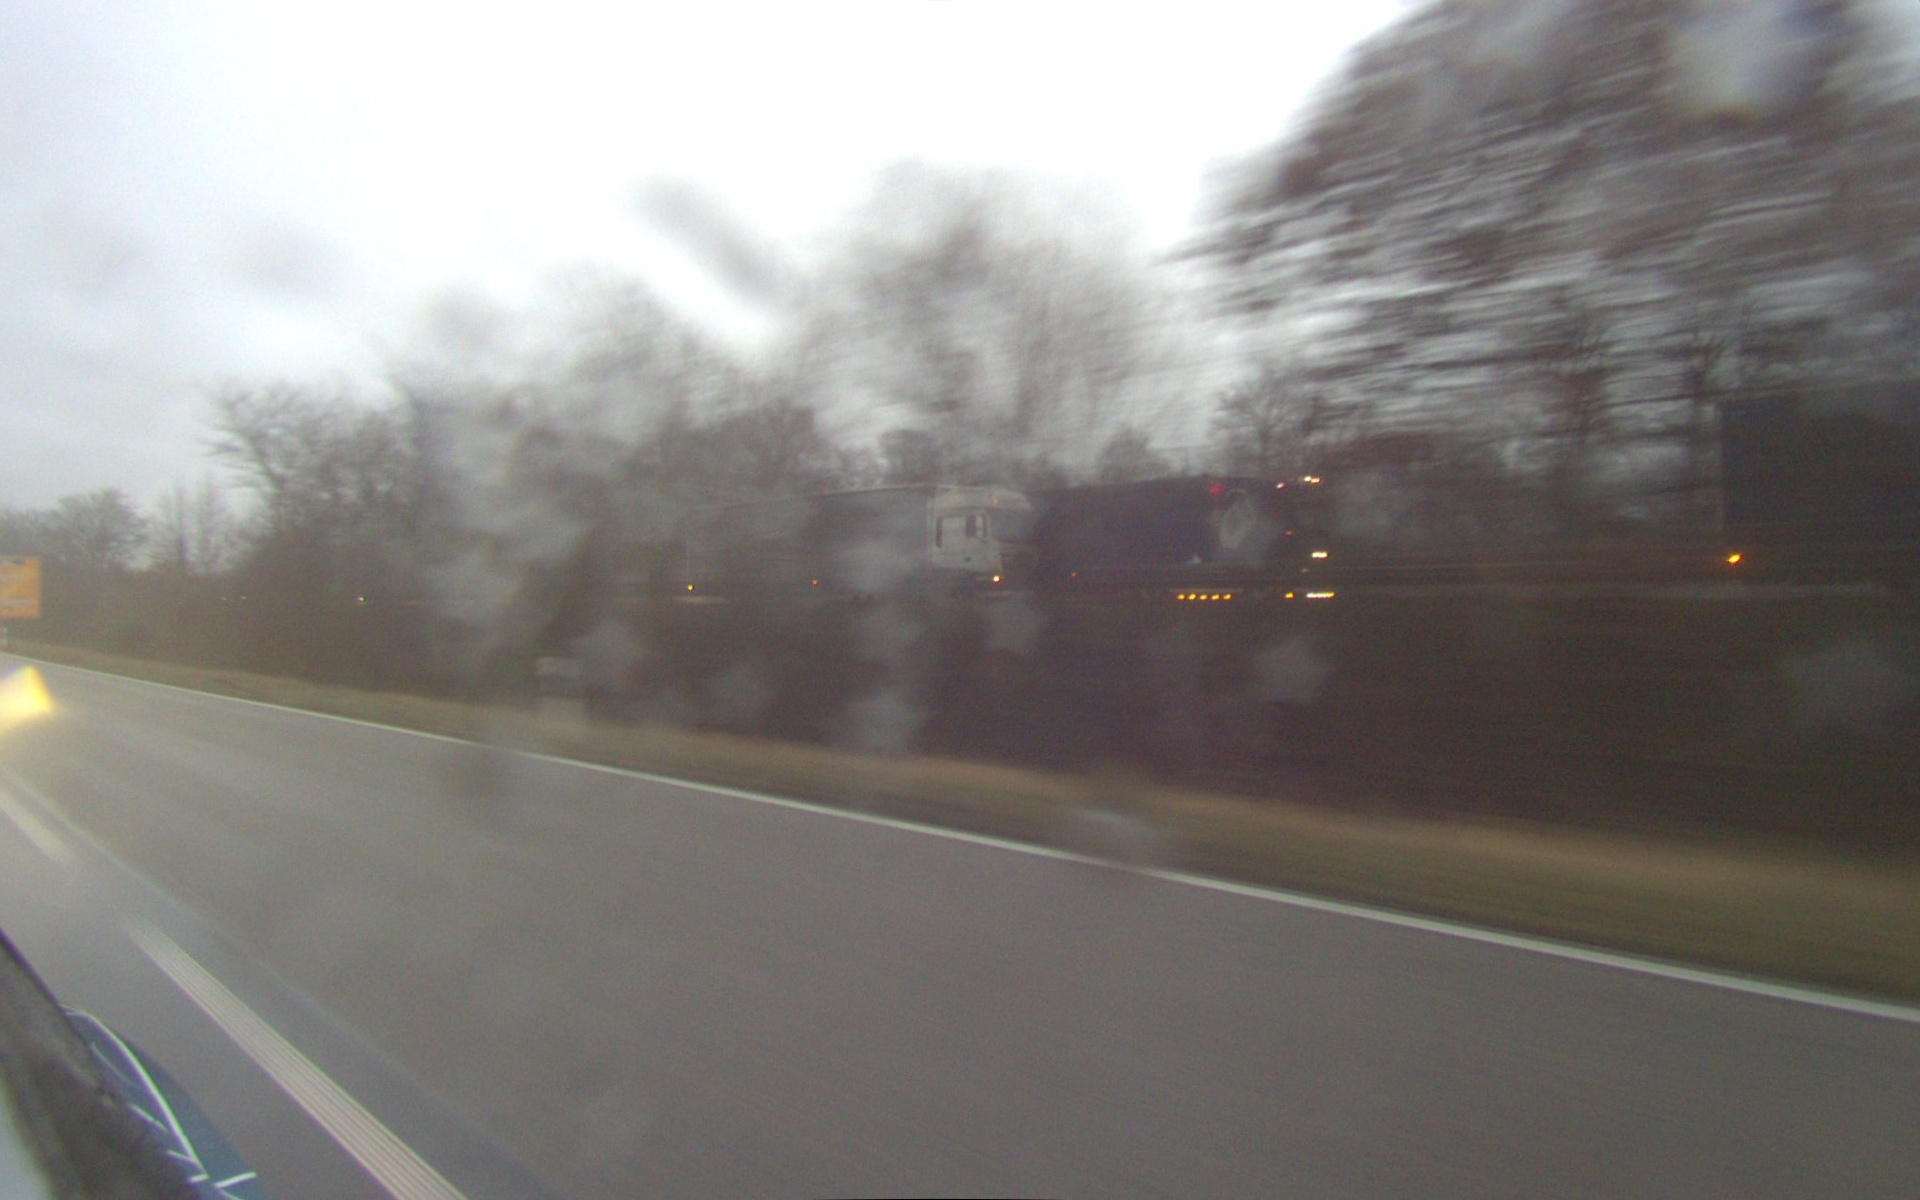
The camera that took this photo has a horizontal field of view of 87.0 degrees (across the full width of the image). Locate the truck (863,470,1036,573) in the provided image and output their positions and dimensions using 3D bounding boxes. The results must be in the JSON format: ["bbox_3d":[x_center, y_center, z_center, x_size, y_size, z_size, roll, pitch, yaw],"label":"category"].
[{"bbox_3d":[-0.420,-2.494,33.825,5.580,2.909,2.424,-1,-1,41],"label":"truck"}]

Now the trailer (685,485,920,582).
[{"bbox_3d":[-6.414,-2.352,39.047,11.079,2.913,2.410,-1,-1,41],"label":"trailer"}]

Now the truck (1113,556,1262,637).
[{"bbox_3d":[7.336,-0.044,32.736,3.998,2.454,2.503,-1,-2,41],"label":"truck"}]

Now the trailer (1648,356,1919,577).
[{"bbox_3d":[19.034,-2.443,17.626,11.379,3.661,2.968,-1,-1,41],"label":"trailer"}]

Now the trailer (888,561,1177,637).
[{"bbox_3d":[2.259,0.096,37.209,11.497,2.443,2.482,-1,-2,41],"label":"trailer"}]
